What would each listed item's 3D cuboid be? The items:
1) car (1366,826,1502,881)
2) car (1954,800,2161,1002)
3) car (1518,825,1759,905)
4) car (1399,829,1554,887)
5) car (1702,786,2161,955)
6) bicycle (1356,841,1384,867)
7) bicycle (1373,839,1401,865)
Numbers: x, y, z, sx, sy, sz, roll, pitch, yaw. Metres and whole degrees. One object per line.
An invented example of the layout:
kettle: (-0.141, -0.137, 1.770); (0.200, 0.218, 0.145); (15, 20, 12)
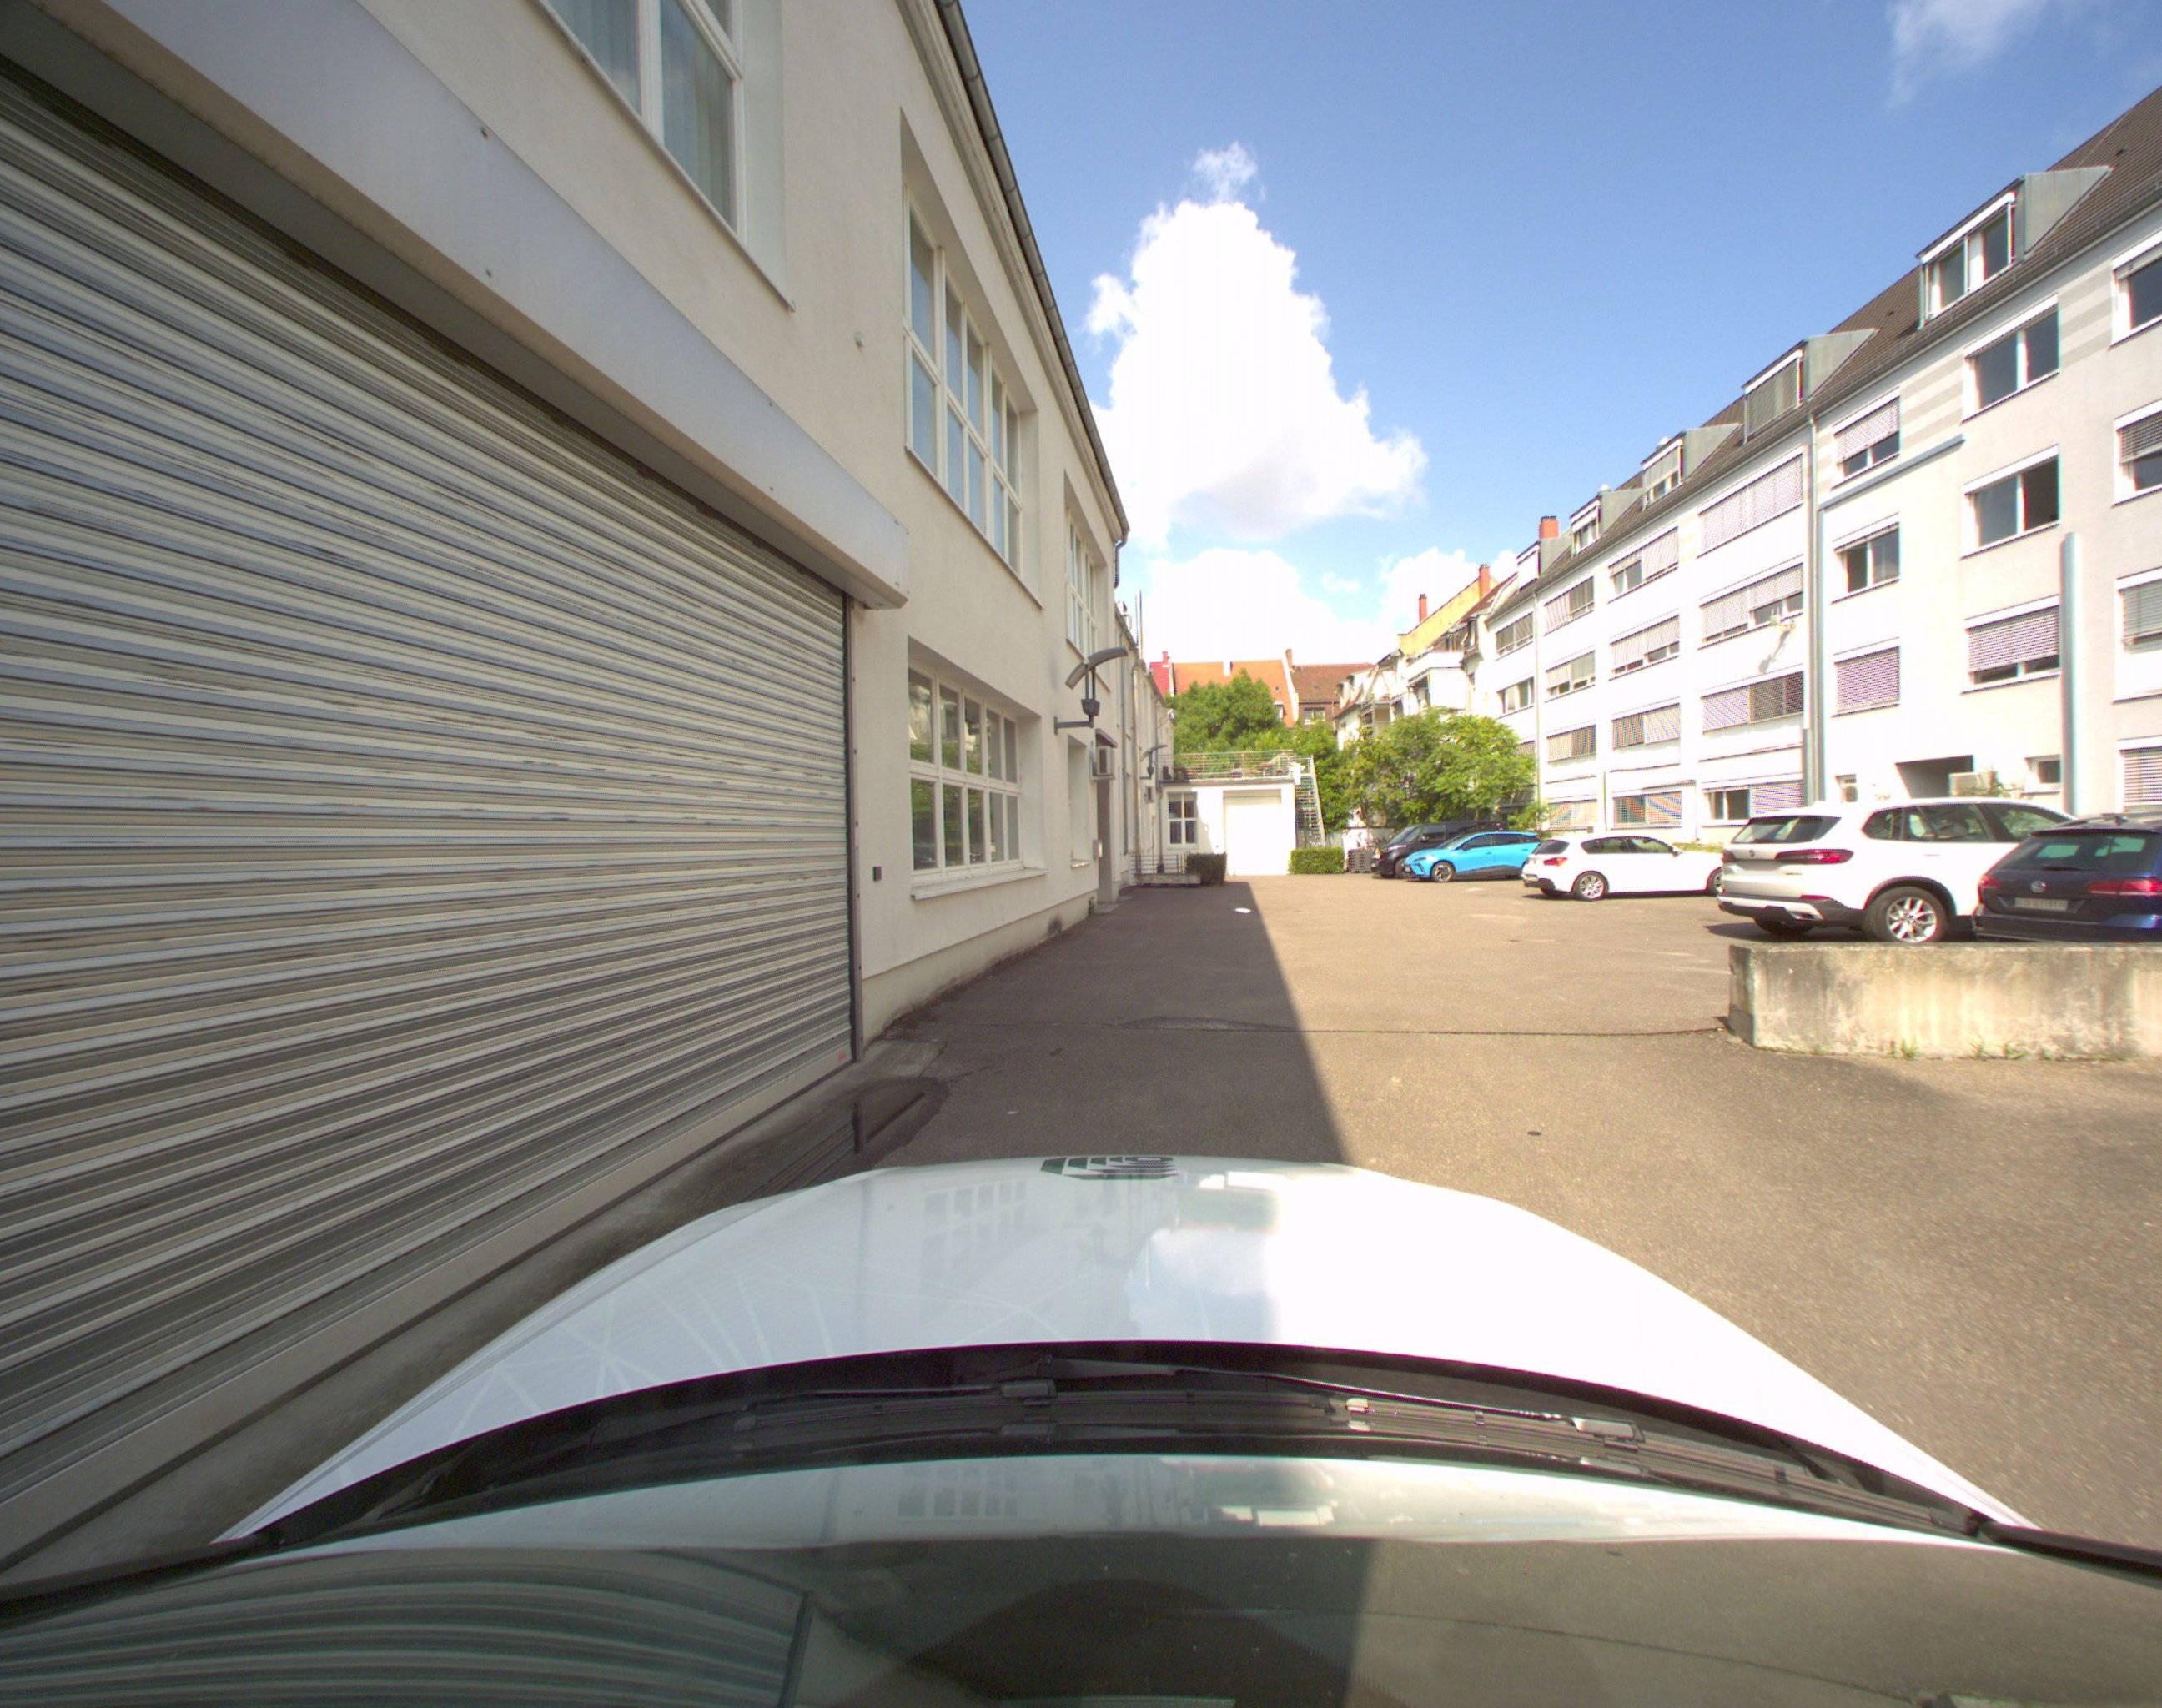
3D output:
car: (11.982, -0.010, 27.845); (3.968, 1.817, 1.666); (0, -1, 5)
car: (10.708, 0.387, 7.091); (4.091, 1.606, 1.758); (0, -1, 6)
car: (11.862, 0.227, 17.543); (3.968, 1.445, 1.631); (-3, 0, 4)
car: (12.120, 0.117, 25.132); (3.968, 1.574, 1.631); (-2, 0, 5)
car: (10.368, 0.191, 9.944); (3.968, 1.746, 1.952); (-2, -1, 5)
bicycle: (12.876, 0.001, 36.332); (0.638, 1.117, 1.859); (0, -1, 2)
bicycle: (14.028, -0.080, 37.363); (0.638, 1.117, 1.859); (0, -1, 2)
